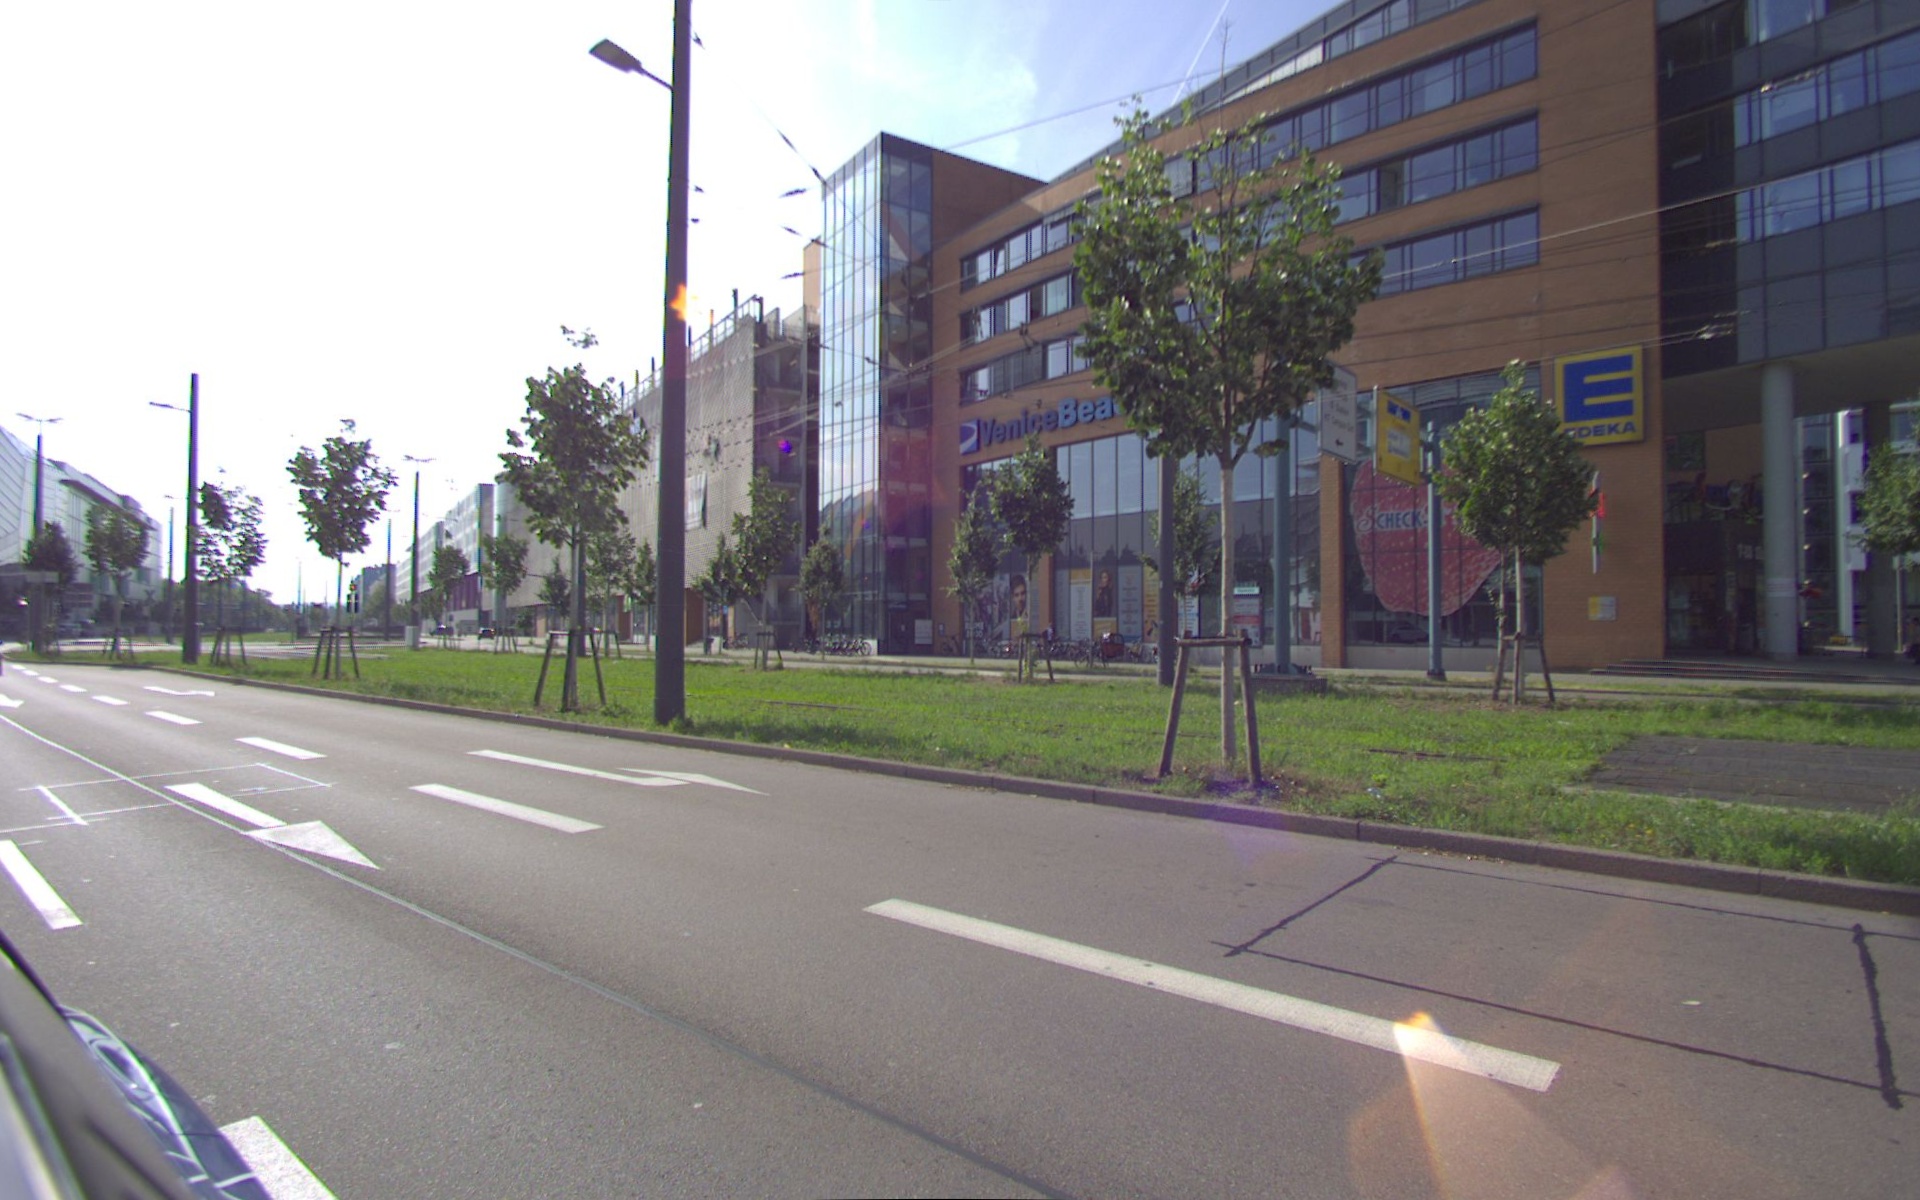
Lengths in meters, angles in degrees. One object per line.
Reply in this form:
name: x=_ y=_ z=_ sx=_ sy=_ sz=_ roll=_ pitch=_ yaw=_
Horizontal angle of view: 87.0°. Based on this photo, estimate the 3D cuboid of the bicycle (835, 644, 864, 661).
bicycle: x=-6.182 y=2.928 z=56.659 sx=1.557 sy=0.947 sz=0.412 roll=1 pitch=-2 yaw=-34

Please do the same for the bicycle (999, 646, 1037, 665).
bicycle: x=2.858 y=2.728 z=50.081 sx=2.022 sy=0.928 sz=0.574 roll=2 pitch=-3 yaw=-39

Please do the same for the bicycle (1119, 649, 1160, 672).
bicycle: x=7.833 y=2.615 z=44.041 sx=2.022 sy=0.928 sz=0.574 roll=2 pitch=-3 yaw=-39

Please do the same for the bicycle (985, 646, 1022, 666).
bicycle: x=2.195 y=2.801 z=50.845 sx=2.022 sy=0.928 sz=0.574 roll=2 pitch=-3 yaw=-39

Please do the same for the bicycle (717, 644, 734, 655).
bicycle: x=-15.908 y=3.366 z=68.642 sx=0.989 sy=0.758 sz=0.453 roll=1 pitch=-2 yaw=-32

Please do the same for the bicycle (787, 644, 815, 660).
bicycle: x=-9.202 y=3.011 z=58.755 sx=1.557 sy=0.947 sz=0.474 roll=1 pitch=-2 yaw=-34

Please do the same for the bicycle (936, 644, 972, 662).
bicycle: x=-0.294 y=2.826 z=54.104 sx=2.022 sy=0.928 sz=0.574 roll=2 pitch=-3 yaw=-39

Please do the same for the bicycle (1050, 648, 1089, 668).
bicycle: x=5.149 y=2.703 z=47.436 sx=2.022 sy=0.928 sz=0.574 roll=2 pitch=-3 yaw=-39

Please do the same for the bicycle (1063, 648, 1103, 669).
bicycle: x=5.698 y=2.683 z=46.773 sx=2.022 sy=0.928 sz=0.574 roll=2 pitch=-3 yaw=-39

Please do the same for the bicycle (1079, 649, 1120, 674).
bicycle: x=5.448 y=2.391 z=39.494 sx=1.656 sy=0.914 sz=0.710 roll=2 pitch=-2 yaw=-45

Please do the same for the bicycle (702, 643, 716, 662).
bicycle: x=-15.024 y=3.129 z=60.498 sx=0.438 sy=0.995 sz=2.171 roll=2 pitch=-1 yaw=-24

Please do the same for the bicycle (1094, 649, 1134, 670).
bicycle: x=6.910 y=2.662 z=45.448 sx=2.022 sy=0.928 sz=0.574 roll=2 pitch=-3 yaw=-39

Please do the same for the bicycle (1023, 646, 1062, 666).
bicycle: x=3.977 y=2.701 z=48.781 sx=2.022 sy=0.928 sz=0.574 roll=2 pitch=-3 yaw=-39

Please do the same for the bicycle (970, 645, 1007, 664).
bicycle: x=1.461 y=2.790 z=51.737 sx=2.022 sy=0.928 sz=0.574 roll=2 pitch=-3 yaw=-39

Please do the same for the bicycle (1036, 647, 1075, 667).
bicycle: x=4.552 y=2.707 z=48.061 sx=2.022 sy=0.928 sz=0.574 roll=2 pitch=-3 yaw=-39

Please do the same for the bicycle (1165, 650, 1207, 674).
bicycle: x=9.458 y=2.588 z=42.295 sx=2.022 sy=0.928 sz=0.574 roll=2 pitch=-3 yaw=-39

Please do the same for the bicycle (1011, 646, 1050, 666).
bicycle: x=3.448 y=2.717 z=49.436 sx=2.022 sy=0.928 sz=0.574 roll=2 pitch=-3 yaw=-39

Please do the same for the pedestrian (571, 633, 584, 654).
pedestrian: x=-28.735 y=3.262 z=76.028 sx=0.751 sy=1.591 sz=0.591 roll=2 pitch=-3 yaw=-37

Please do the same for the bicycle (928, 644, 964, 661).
bicycle: x=-0.773 y=2.825 z=54.666 sx=2.022 sy=0.928 sz=0.574 roll=2 pitch=-3 yaw=-39

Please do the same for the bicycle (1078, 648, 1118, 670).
bicycle: x=6.308 y=2.672 z=46.120 sx=2.022 sy=0.928 sz=0.574 roll=2 pitch=-3 yaw=-39

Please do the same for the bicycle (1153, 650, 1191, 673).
bicycle: x=8.969 y=2.587 z=42.847 sx=2.022 sy=0.928 sz=0.381 roll=2 pitch=-3 yaw=-39
